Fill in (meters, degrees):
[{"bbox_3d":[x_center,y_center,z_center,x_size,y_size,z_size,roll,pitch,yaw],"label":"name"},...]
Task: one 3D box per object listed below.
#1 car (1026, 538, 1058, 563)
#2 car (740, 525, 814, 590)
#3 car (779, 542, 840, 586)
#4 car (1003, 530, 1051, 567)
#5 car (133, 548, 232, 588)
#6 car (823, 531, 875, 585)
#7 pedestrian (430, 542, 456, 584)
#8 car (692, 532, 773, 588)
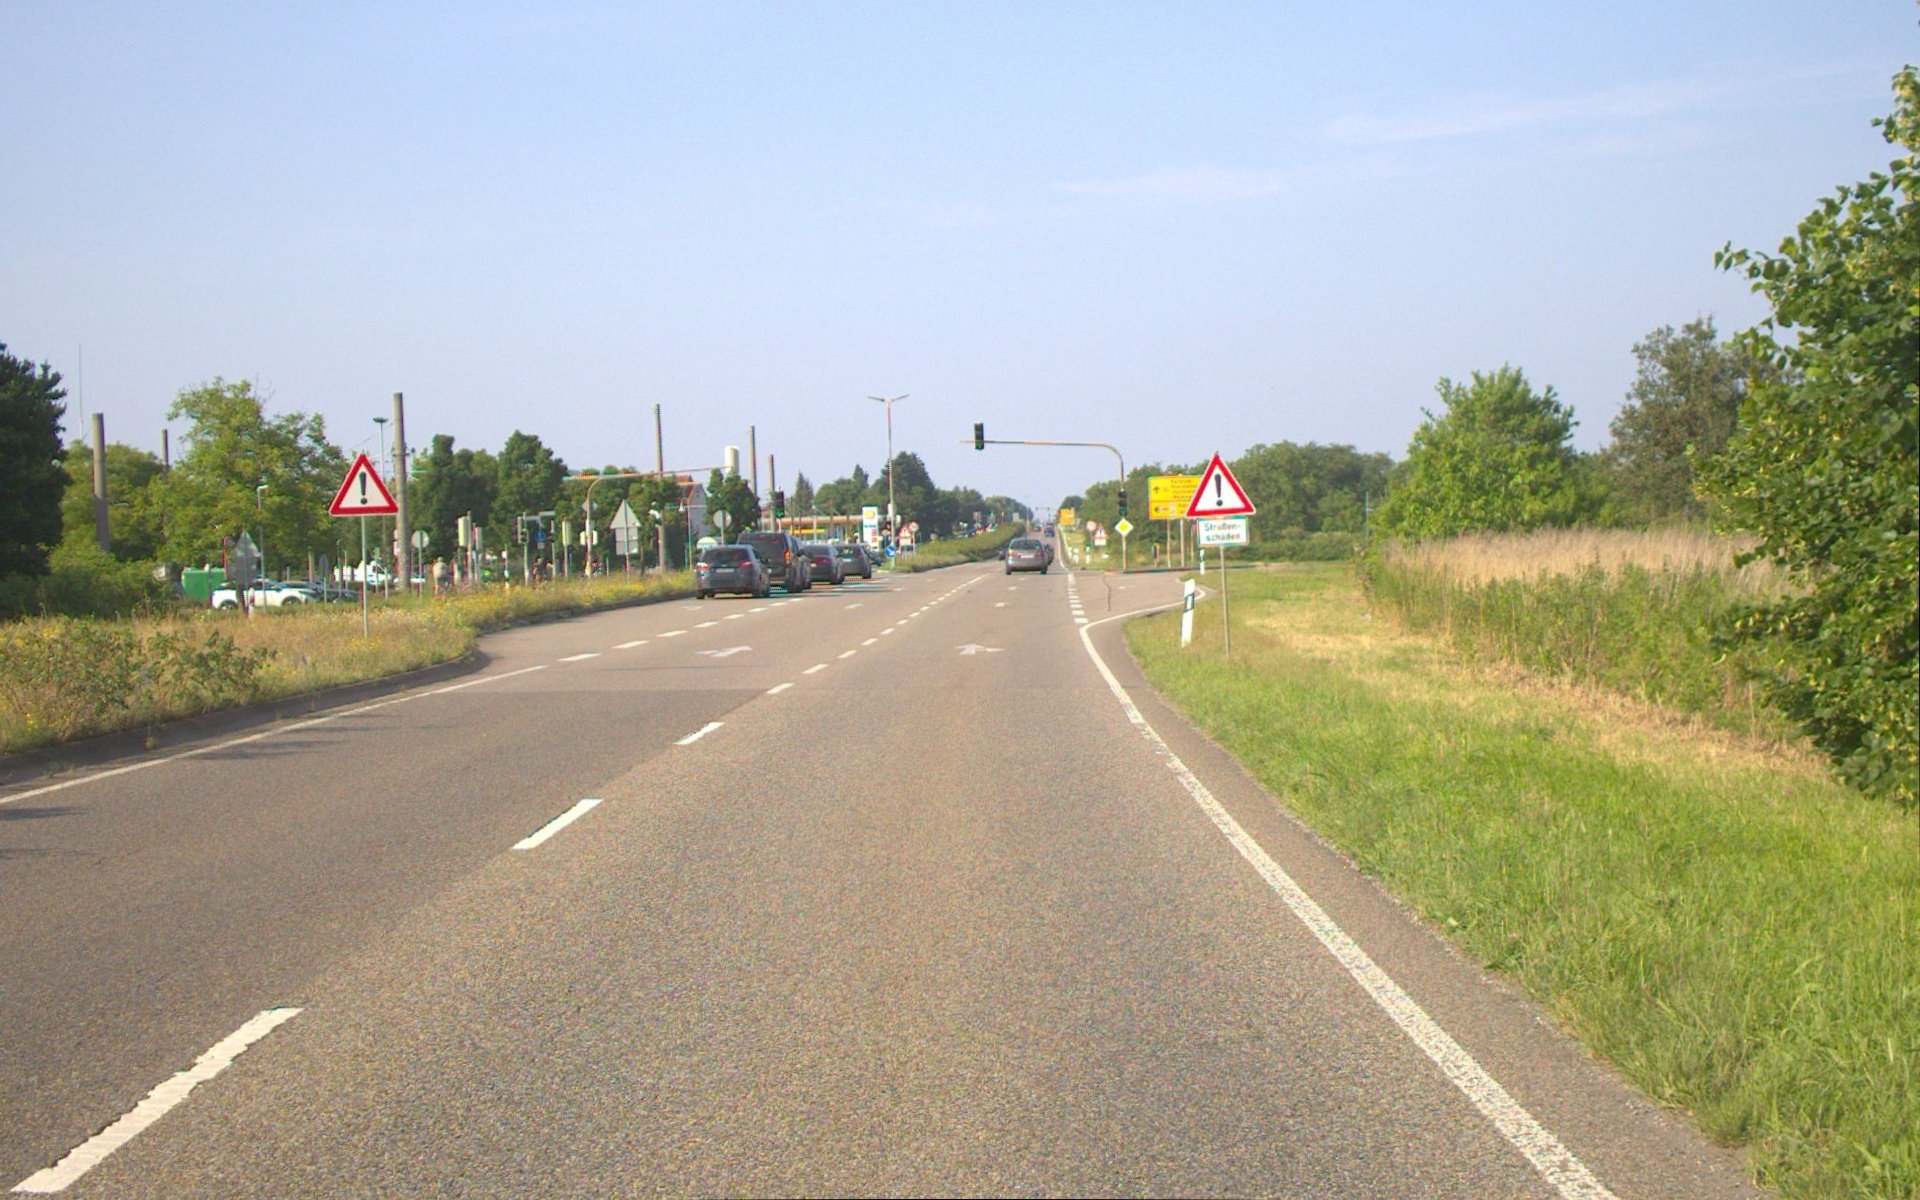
[{"bbox_3d":[5.513,-3.344,230.002,1.994,1.590,4.000,-2,1,3],"label":"car"},{"bbox_3d":[-5.397,-1.280,101.935,1.732,1.849,4.520,-1,1,2],"label":"car"},{"bbox_3d":[-5.258,-1.288,120.686,1.770,1.466,4.015,-1,1,2],"label":"car"},{"bbox_3d":[2.939,-2.258,150.467,1.994,1.546,4.000,-1,1,2],"label":"car"},{"bbox_3d":[-32.738,-1.351,144.911,3.986,1.656,1.888,0,0,-10],"label":"car"},{"bbox_3d":[-4.490,-1.671,139.630,1.993,2.007,4.836,-1,-1,-1],"label":"car"},{"bbox_3d":[-21.060,-1.495,140.048,0.915,1.700,1.067,0,0,-4],"label":"pedestrian"},{"bbox_3d":[-6.253,-1.115,94.797,1.732,1.451,4.520,-1,1,2],"label":"car"}]
